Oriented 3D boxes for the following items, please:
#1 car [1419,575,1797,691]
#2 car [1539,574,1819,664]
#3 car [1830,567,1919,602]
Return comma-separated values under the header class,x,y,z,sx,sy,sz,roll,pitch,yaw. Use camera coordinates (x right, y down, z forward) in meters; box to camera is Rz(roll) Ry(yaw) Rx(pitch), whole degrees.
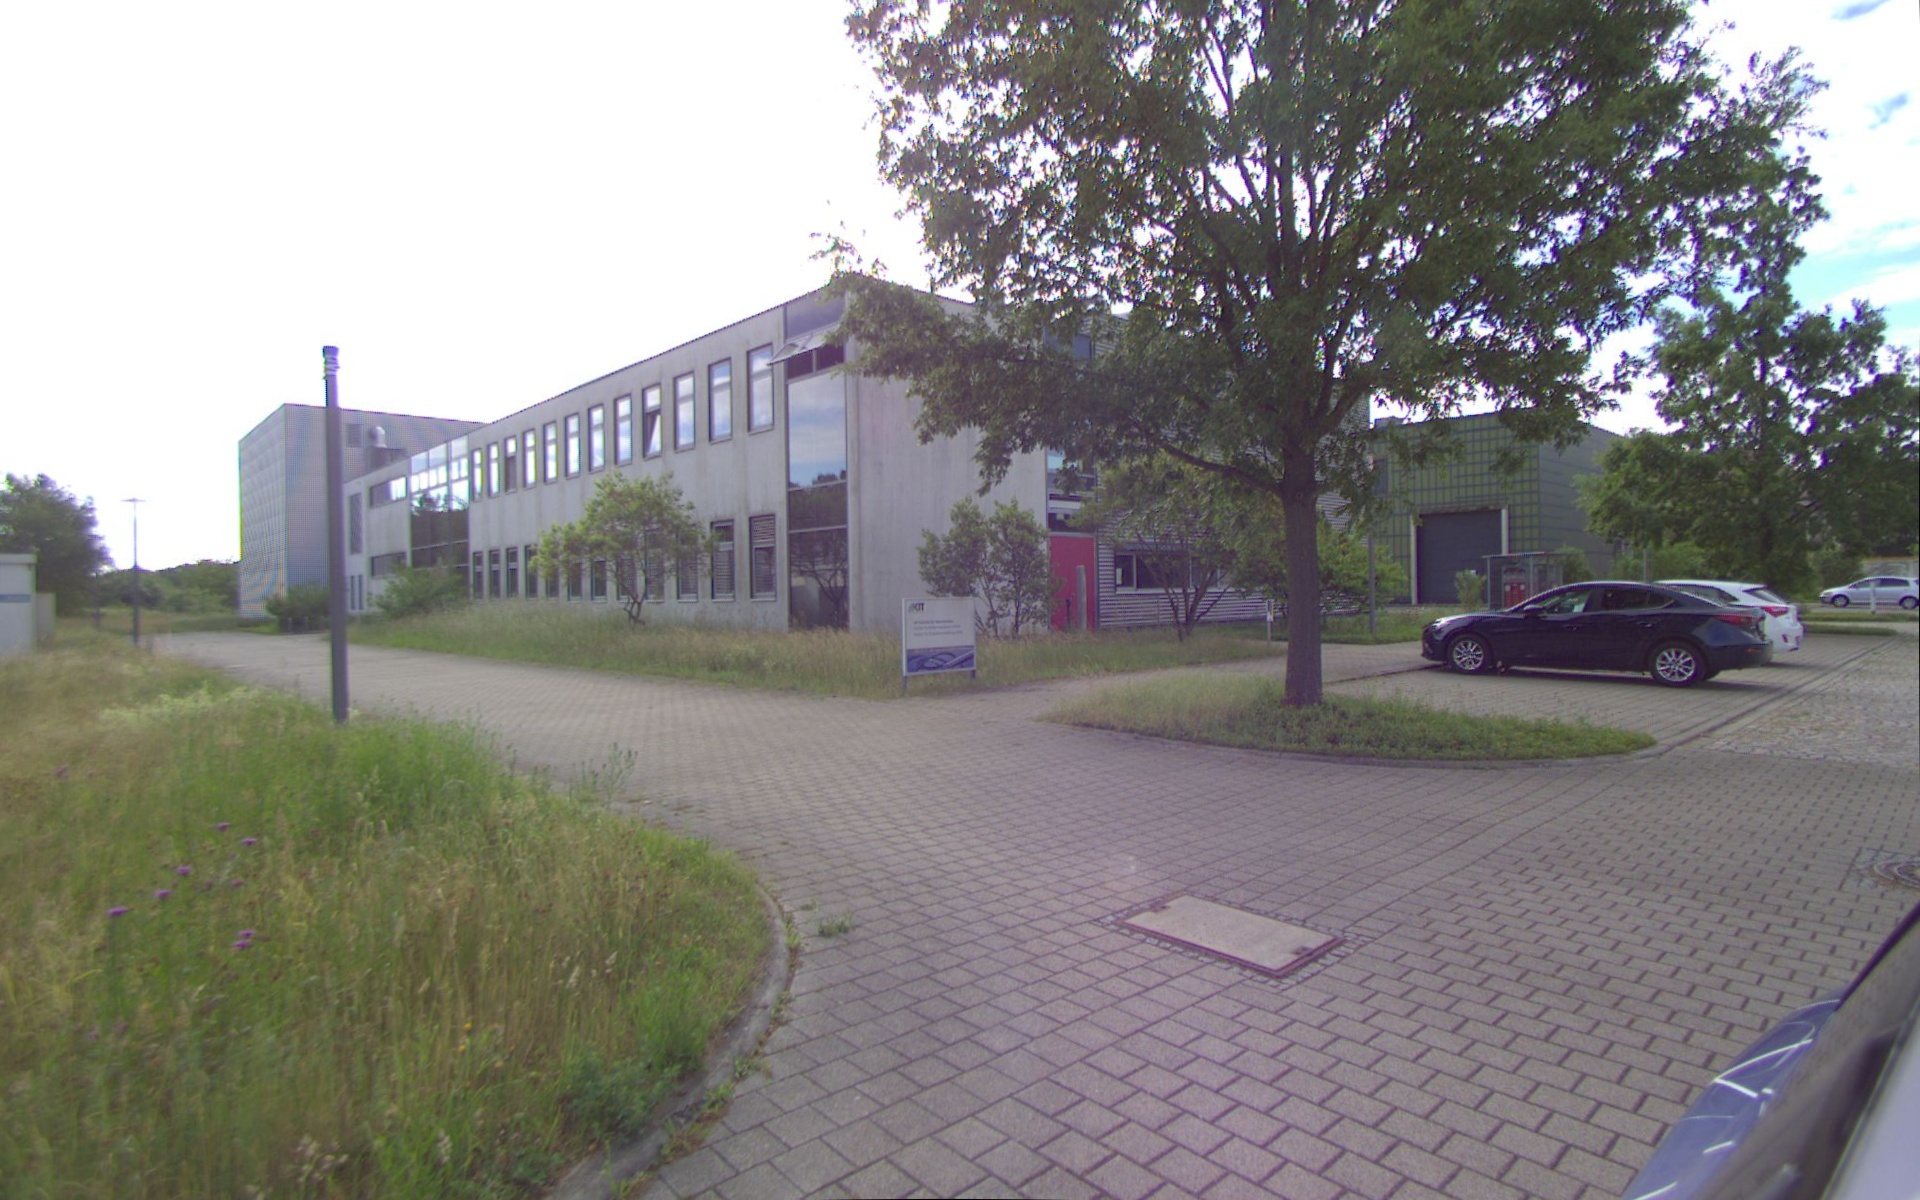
class,x,y,z,sx,sy,sz,roll,pitch,yaw
car,9.562,0.360,15.217,1.912,1.465,4.469,-1,2,-43
car,13.243,0.278,18.806,1.851,1.485,3.980,-1,1,-43
car,45.957,-0.775,50.184,4.123,1.644,1.908,2,3,45
